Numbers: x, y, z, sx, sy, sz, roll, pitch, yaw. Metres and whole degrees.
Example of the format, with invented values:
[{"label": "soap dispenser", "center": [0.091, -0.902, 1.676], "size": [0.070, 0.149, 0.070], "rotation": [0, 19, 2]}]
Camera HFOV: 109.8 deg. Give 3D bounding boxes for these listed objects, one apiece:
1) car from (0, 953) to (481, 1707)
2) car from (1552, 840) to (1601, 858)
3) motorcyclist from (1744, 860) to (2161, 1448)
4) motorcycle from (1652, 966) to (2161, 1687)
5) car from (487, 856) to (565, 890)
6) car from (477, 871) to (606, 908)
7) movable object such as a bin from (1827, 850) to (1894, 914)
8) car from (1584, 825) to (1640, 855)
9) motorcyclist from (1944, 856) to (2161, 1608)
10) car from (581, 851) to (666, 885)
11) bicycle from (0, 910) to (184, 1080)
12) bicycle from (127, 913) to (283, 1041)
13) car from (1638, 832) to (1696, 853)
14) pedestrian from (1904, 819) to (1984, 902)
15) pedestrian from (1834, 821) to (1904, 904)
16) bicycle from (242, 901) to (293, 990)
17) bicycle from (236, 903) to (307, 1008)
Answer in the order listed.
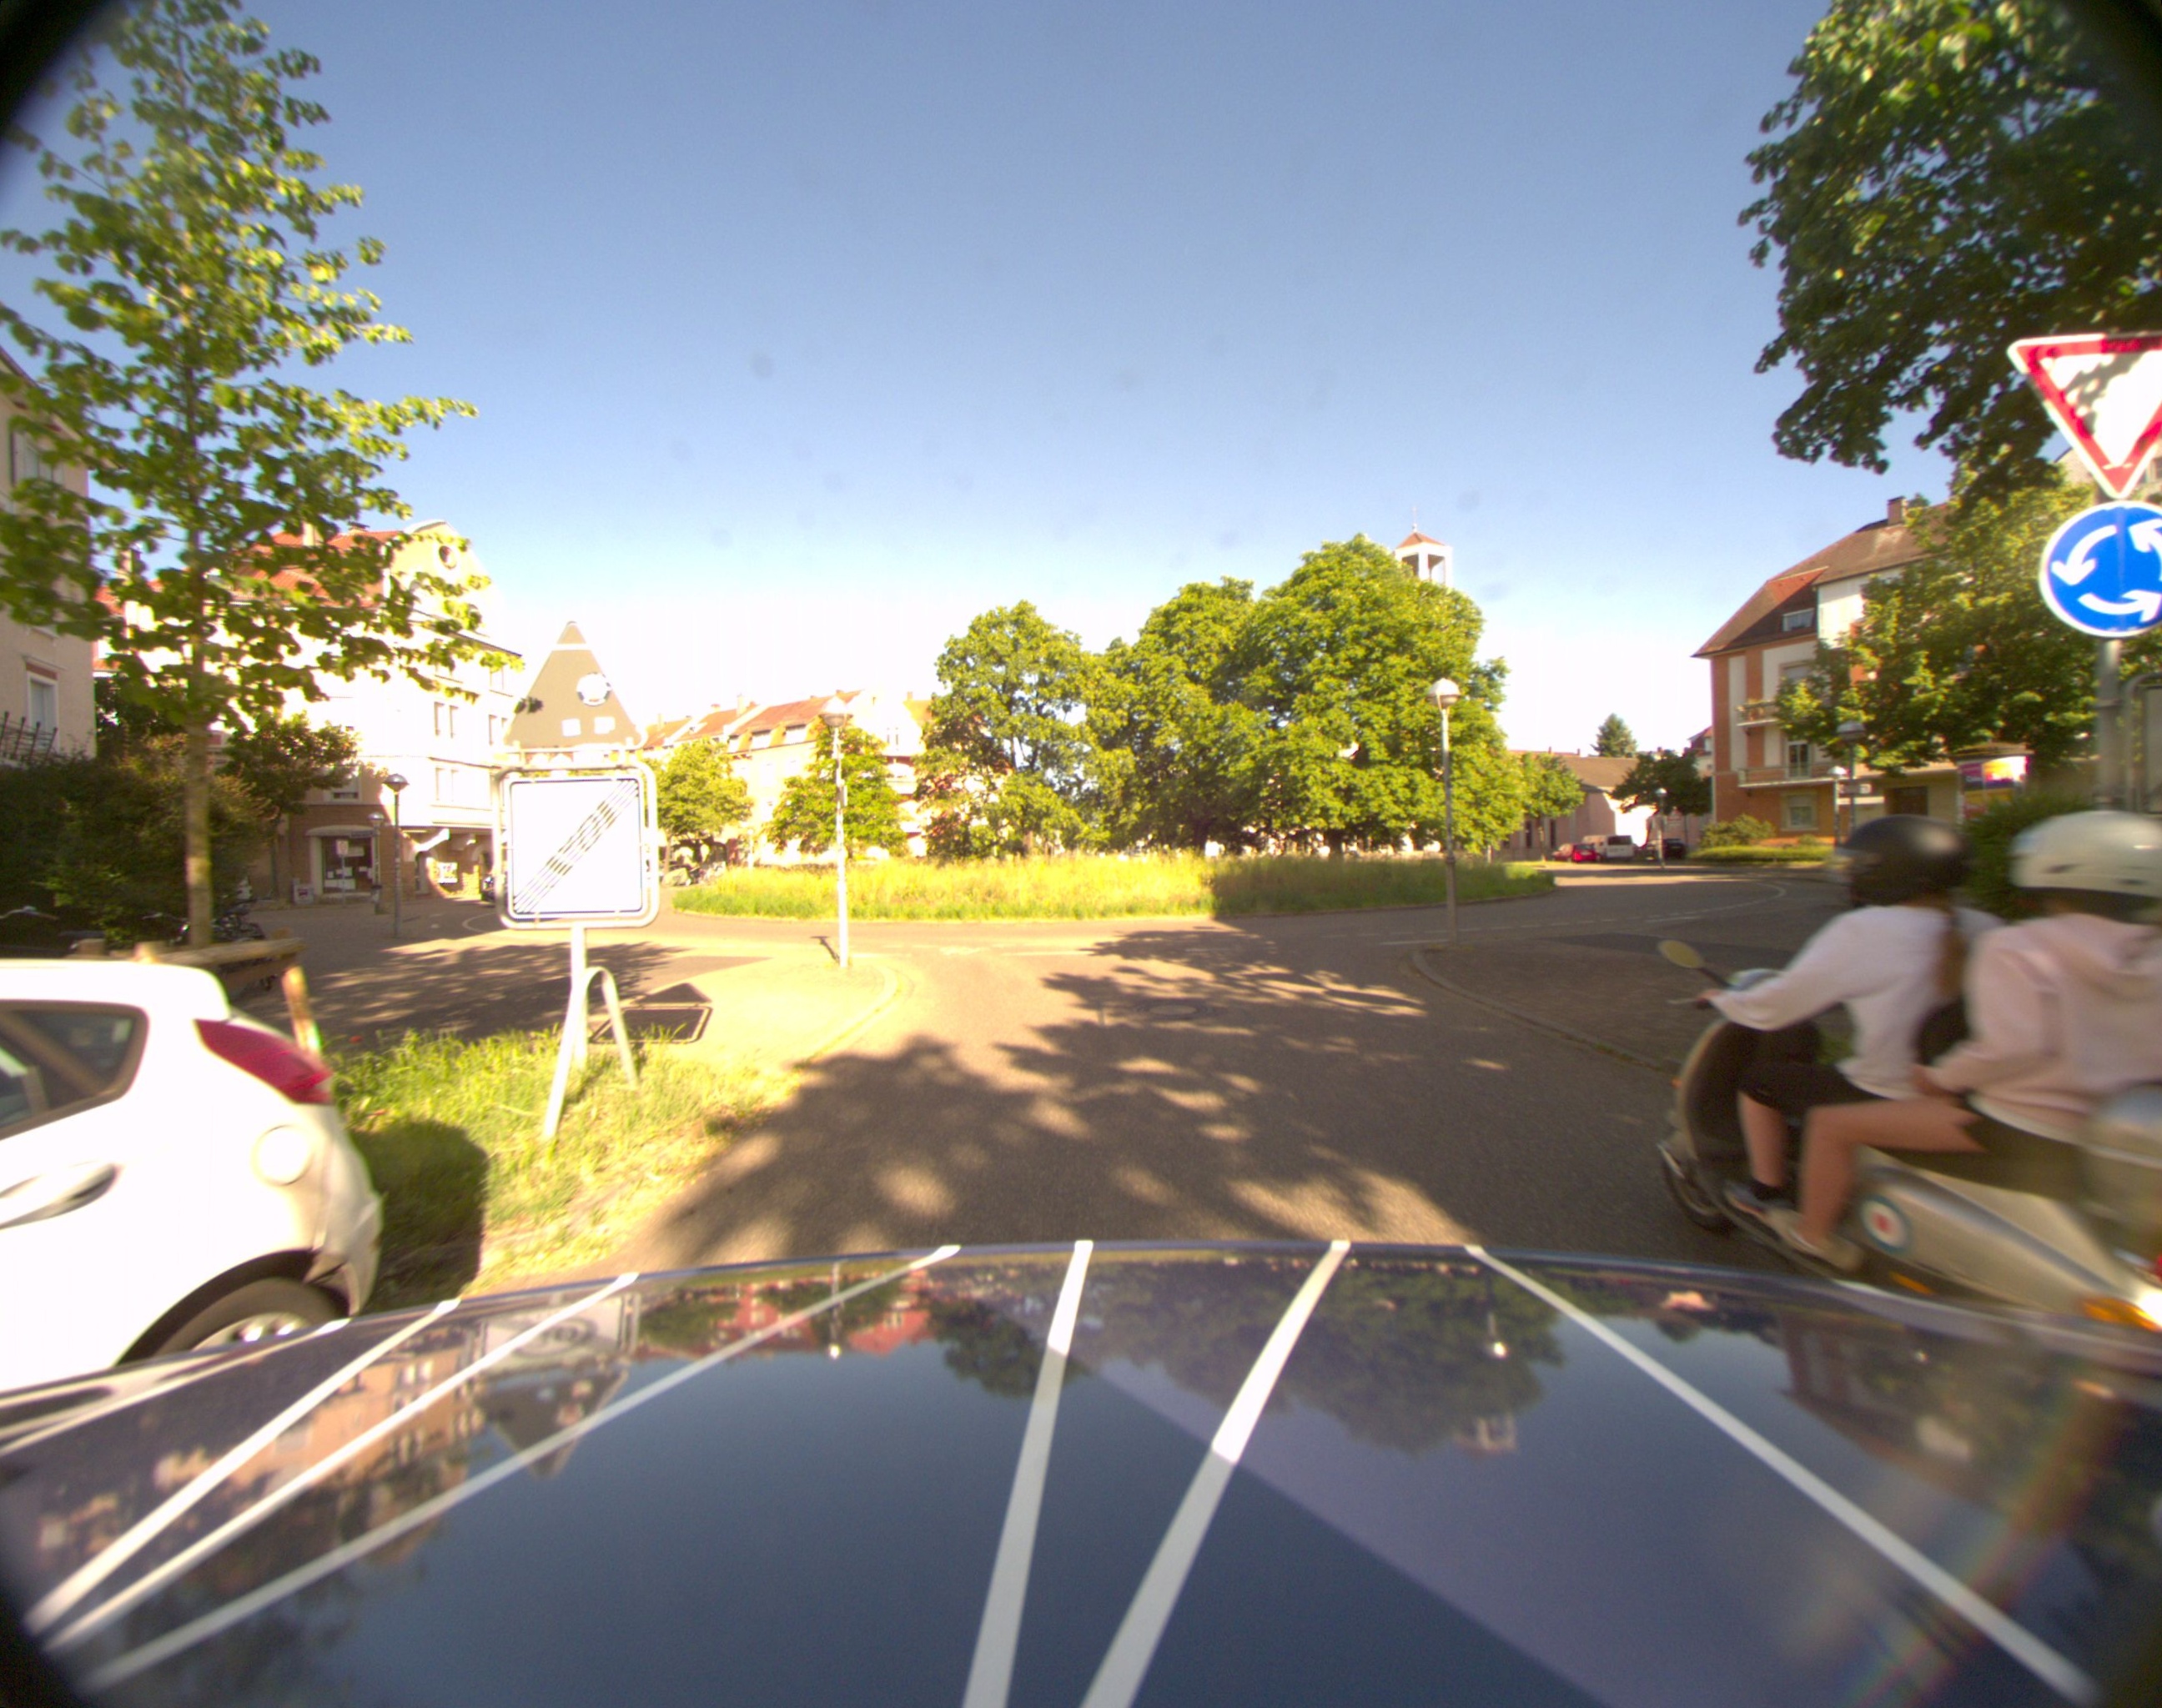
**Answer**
[{"label": "car", "center": [-2.805, 1.045, 0.396], "size": [1.657, 1.394, 4.135], "rotation": [-2, 0, 0]}, {"label": "car", "center": [34.883, -0.359, 53.558], "size": [1.766, 1.171, 4.004], "rotation": [-1, 0, 16]}, {"label": "motorcyclist", "center": [2.326, 0.724, 2.078], "size": [0.554, 1.395, 0.519], "rotation": [-2, 1, 0]}, {"label": "motorcycle", "center": [2.328, 0.998, 1.909], "size": [0.554, 1.168, 1.632], "rotation": [-2, 0, 0]}, {"label": "car", "center": [-36.551, 1.223, 50.051], "size": [4.788, 2.107, 2.258], "rotation": [-1, 1, 29]}, {"label": "car", "center": [-24.560, 1.587, 34.727], "size": [1.844, 1.399, 4.416], "rotation": [-3, -1, 36]}, {"label": "movable object such as a bin", "center": [15.134, 0.531, 14.752], "size": [0.846, 1.189, 0.767], "rotation": [-2, 1, -35]}, {"label": "car", "center": [37.629, -0.967, 53.967], "size": [1.996, 2.002, 4.004], "rotation": [-1, 0, 15]}, {"label": "motorcyclist", "center": [2.313, 0.721, 1.587], "size": [0.545, 1.418, 0.404], "rotation": [-2, 1, 0]}, {"label": "car", "center": [-34.765, 1.046, 57.898], "size": [5.198, 2.348, 2.034], "rotation": [-2, 1, -20]}, {"label": "bicycle", "center": [-8.770, 1.166, 6.567], "size": [0.326, 1.231, 1.502], "rotation": [-1, 1, -6]}, {"label": "bicycle", "center": [-9.269, 1.247, 8.110], "size": [0.352, 1.097, 1.569], "rotation": [-2, 1, -21]}, {"label": "car", "center": [43.275, -0.848, 56.227], "size": [1.741, 1.471, 4.003], "rotation": [-1, 0, 10]}, {"label": "pedestrian", "center": [17.408, 0.127, 15.339], "size": [0.758, 1.606, 0.747], "rotation": [-1, 1, 0]}, {"label": "pedestrian", "center": [15.776, 0.168, 15.219], "size": [0.696, 1.606, 0.665], "rotation": [-1, 1, 3]}, {"label": "bicycle", "center": [-11.620, 1.266, 10.840], "size": [1.633, 1.142, 0.367], "rotation": [-1, 1, 39]}, {"label": "bicycle", "center": [-10.276, 1.236, 9.678], "size": [0.445, 1.142, 1.774], "rotation": [-2, 1, -42]}]
